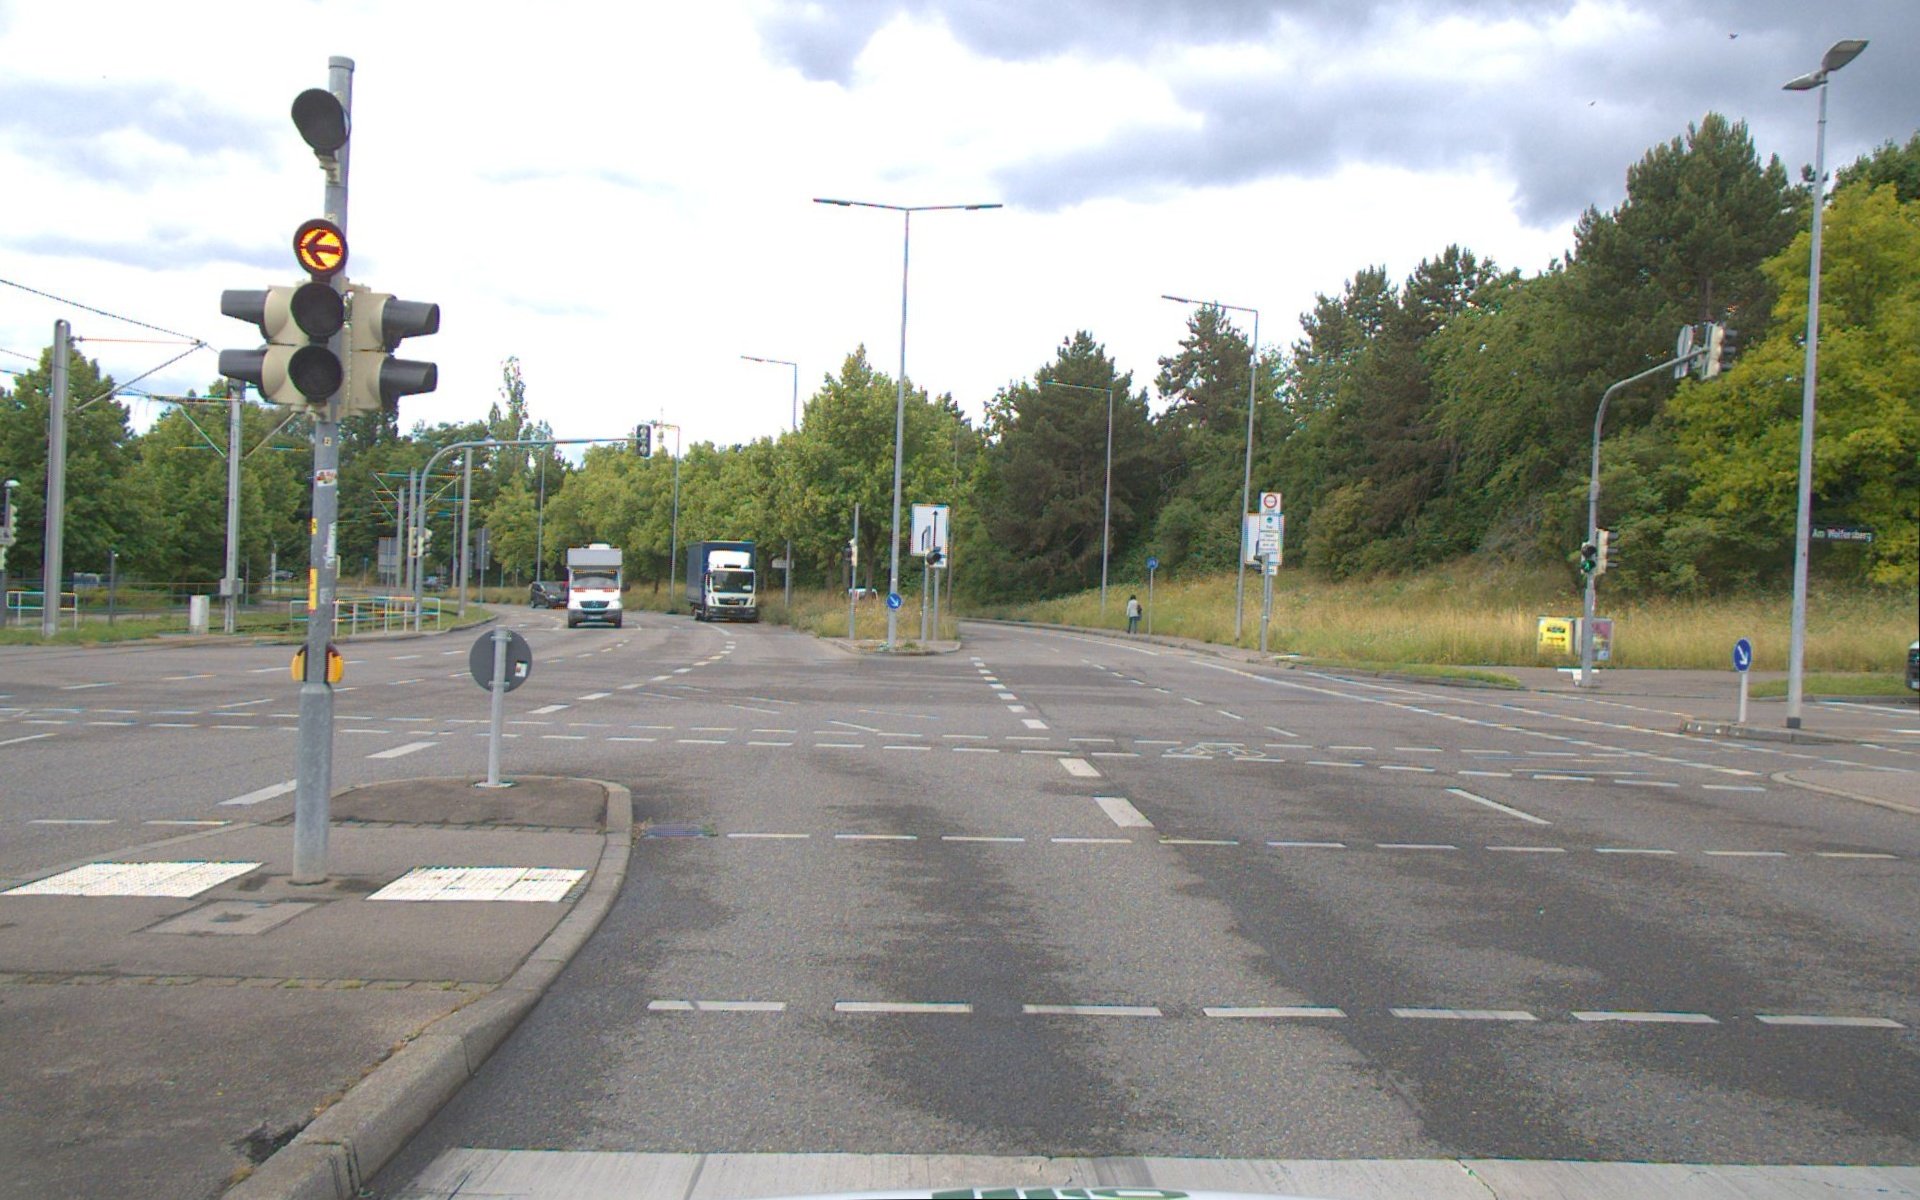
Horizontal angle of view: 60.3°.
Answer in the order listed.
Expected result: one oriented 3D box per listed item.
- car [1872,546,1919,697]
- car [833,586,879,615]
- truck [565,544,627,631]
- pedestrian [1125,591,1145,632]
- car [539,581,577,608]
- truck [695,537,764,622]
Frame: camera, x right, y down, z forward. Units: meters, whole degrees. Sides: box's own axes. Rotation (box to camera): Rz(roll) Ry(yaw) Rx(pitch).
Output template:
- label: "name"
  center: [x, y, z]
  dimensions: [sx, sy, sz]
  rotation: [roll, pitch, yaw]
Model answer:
- label: "car"
  center: [20.182, 0.428, 30.213]
  dimensions: [5.818, 2.705, 2.228]
  rotation: [1, -1, 1]
- label: "car"
  center: [-6.595, 0.002, 104.797]
  dimensions: [1.963, 1.758, 3.707]
  rotation: [1, 0, -19]
- label: "truck"
  center: [-13.860, -0.467, 63.066]
  dimensions: [2.068, 3.063, 6.254]
  rotation: [-2, 1, -12]
- label: "pedestrian"
  center: [7.489, 0.474, 70.840]
  dimensions: [0.724, 1.747, 0.625]
  rotation: [1, 0, -1]
- label: "car"
  center: [-28.196, -0.417, 115.871]
  dimensions: [1.967, 1.814, 3.971]
  rotation: [1, 0, -23]
- label: "truck"
  center: [-11.290, -0.985, 80.334]
  dimensions: [2.729, 3.871, 8.364]
  rotation: [1, 0, -12]
